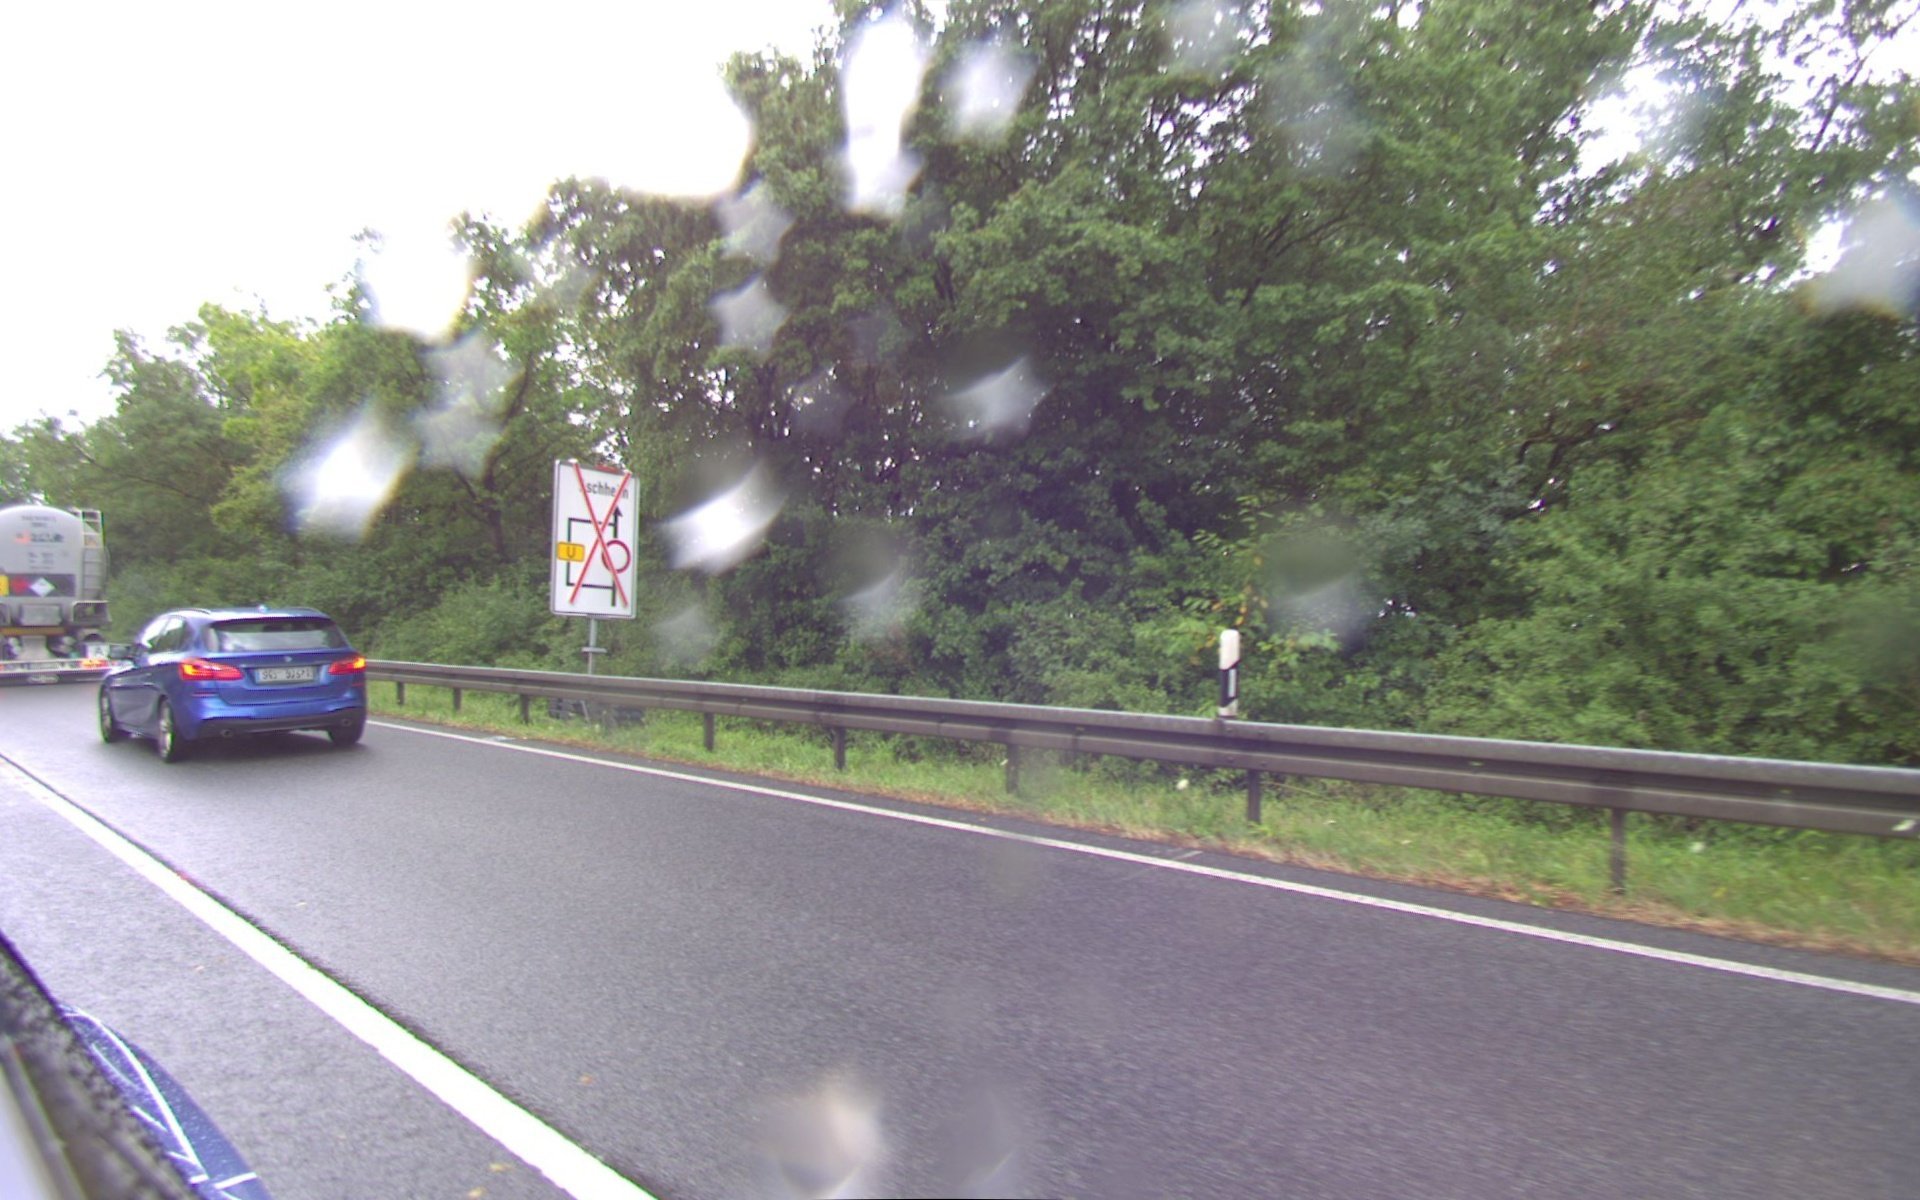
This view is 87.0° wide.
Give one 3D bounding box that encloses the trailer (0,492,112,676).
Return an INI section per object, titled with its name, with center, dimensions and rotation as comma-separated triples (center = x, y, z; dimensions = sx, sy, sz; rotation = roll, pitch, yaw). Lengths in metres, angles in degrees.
[trailer]
center = -22.763, -0.312, 24.149
dimensions = 7.784, 3.854, 2.511
rotation = 0, 0, 40

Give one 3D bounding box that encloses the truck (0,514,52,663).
[truck]
center = -27.027, -0.278, 27.665
dimensions = 5.240, 3.854, 2.511
rotation = -1, 0, 39

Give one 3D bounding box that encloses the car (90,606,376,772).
[car]
center = -8.251, 0.849, 11.371
dimensions = 3.909, 1.527, 1.690
rotation = 0, 0, 40
